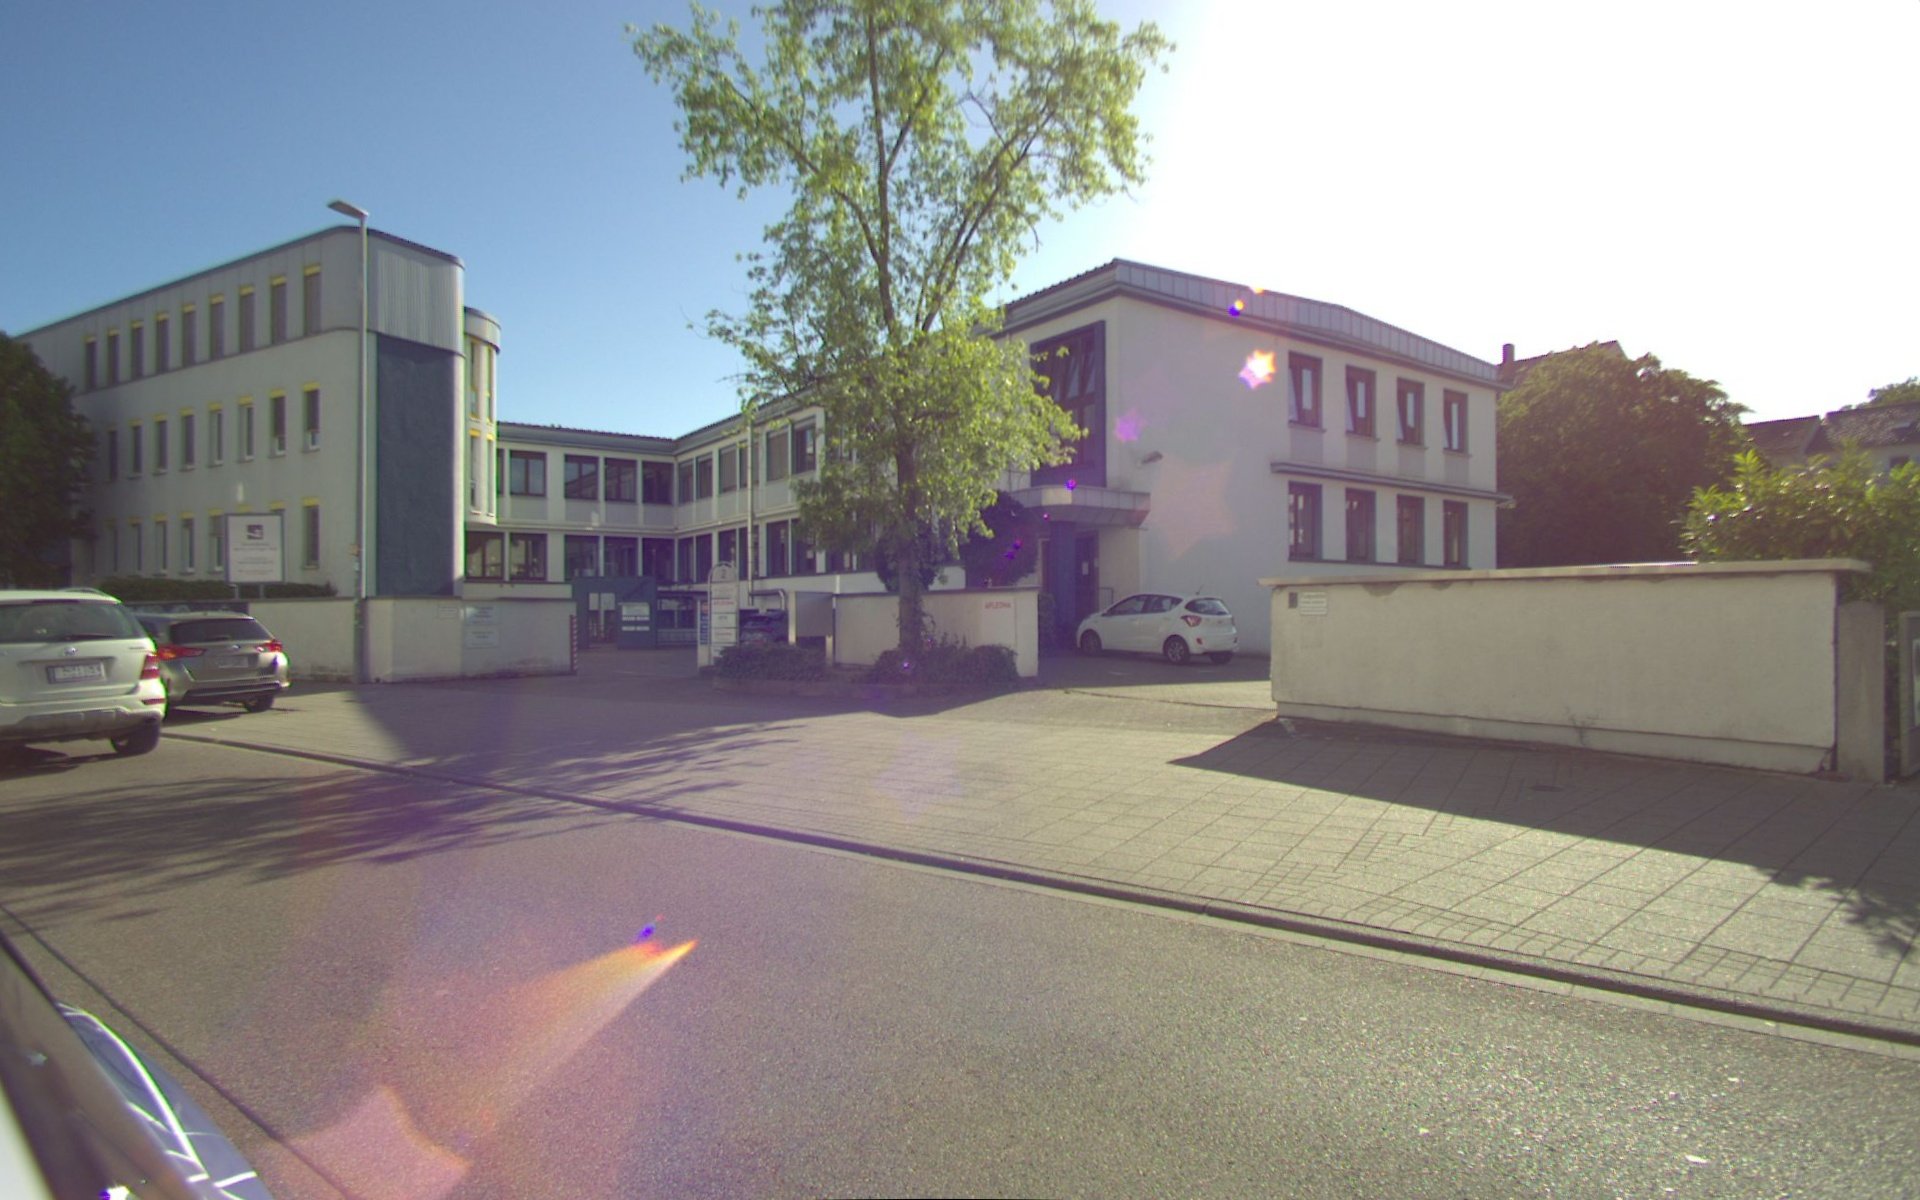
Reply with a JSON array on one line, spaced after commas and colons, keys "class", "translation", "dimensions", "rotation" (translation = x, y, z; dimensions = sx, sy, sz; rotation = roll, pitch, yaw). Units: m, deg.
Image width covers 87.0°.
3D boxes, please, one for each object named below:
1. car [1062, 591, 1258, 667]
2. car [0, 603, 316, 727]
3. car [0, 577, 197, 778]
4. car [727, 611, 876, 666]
[{"class": "car", "translation": [4.209, 0.568, 21.757], "dimensions": [1.736, 1.431, 3.854], "rotation": [1, 0, -41]}, {"class": "car", "translation": [-11.764, 0.871, 14.685], "dimensions": [4.895, 1.546, 1.981], "rotation": [-2, -1, 28]}, {"class": "car", "translation": [-10.291, 0.745, 10.704], "dimensions": [4.502, 1.799, 1.975], "rotation": [-1, -2, 31]}, {"class": "car", "translation": [-4.910, 1.164, 31.691], "dimensions": [4.271, 1.552, 1.927], "rotation": [0, -2, -43]}]
